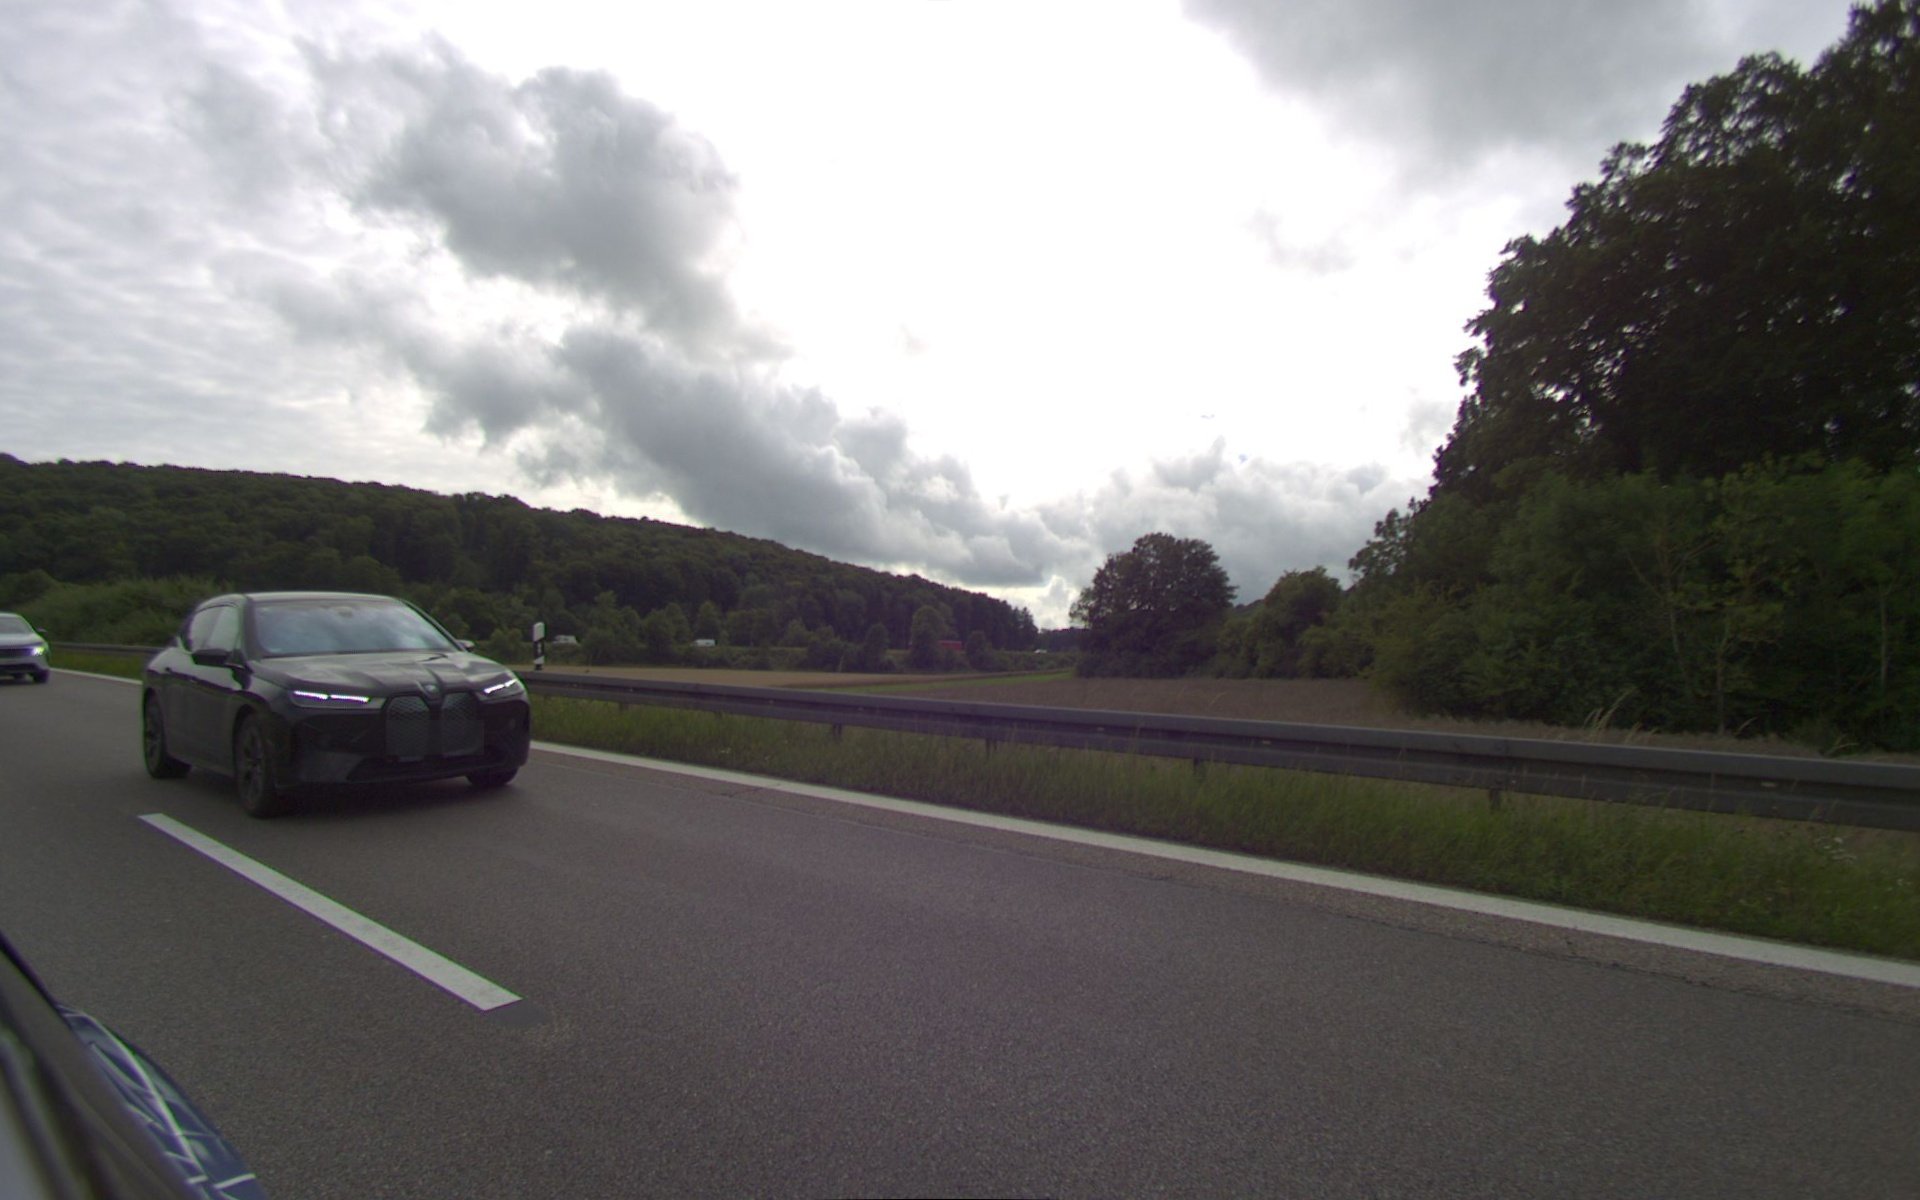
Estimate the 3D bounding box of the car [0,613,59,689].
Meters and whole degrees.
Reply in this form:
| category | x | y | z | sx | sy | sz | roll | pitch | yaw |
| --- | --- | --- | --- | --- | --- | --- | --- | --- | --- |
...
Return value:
| category | x | y | z | sx | sy | sz | roll | pitch | yaw |
| --- | --- | --- | --- | --- | --- | --- | --- | --- | --- |
| car | -23.017 | 1.193 | 23.923 | 4.412 | 1.678 | 1.973 | -2 | -1 | 40 |

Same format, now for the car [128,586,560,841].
| category | x | y | z | sx | sy | sz | roll | pitch | yaw |
| --- | --- | --- | --- | --- | --- | --- | --- | --- | --- |
| car | -5.545 | 0.799 | 8.883 | 4.412 | 1.678 | 1.973 | -1 | -2 | 41 |
